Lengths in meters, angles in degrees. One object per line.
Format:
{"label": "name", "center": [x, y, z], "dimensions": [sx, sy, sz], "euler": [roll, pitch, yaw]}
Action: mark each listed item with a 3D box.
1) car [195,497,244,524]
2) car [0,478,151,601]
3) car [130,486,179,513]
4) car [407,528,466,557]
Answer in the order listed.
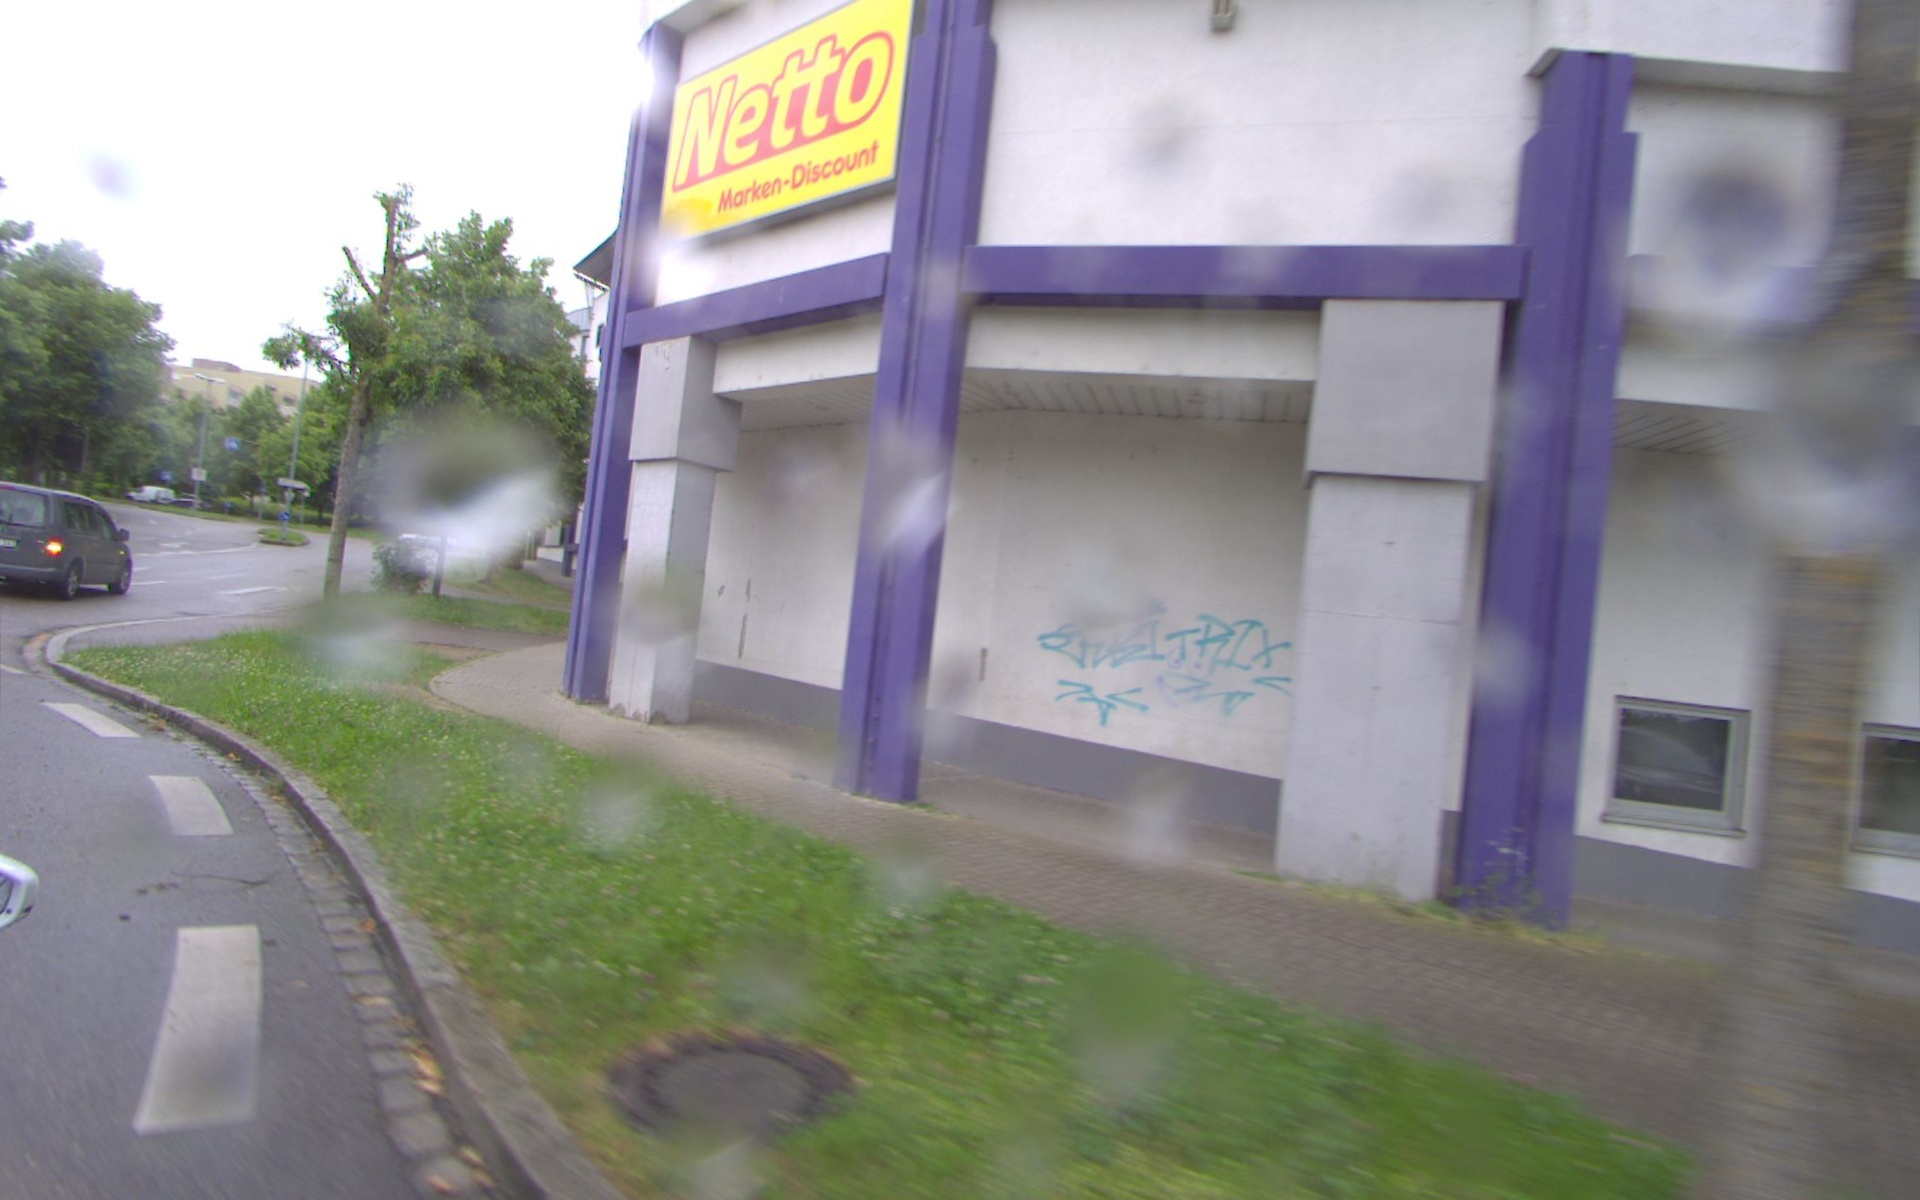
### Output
{"label": "car", "center": [-65.019, -7.858, 88.321], "dimensions": [3.794, 1.895, 1.851], "euler": [6, -2, 27]}
{"label": "car", "center": [-16.201, -1.124, 17.840], "dimensions": [1.902, 1.823, 3.764], "euler": [8, 0, -26]}
{"label": "car", "center": [-73.164, -9.156, 91.336], "dimensions": [3.932, 1.894, 1.999], "euler": [6, -2, 29]}
{"label": "car", "center": [-40.955, -4.470, 78.706], "dimensions": [3.957, 1.583, 1.873], "euler": [9, -2, -30]}
